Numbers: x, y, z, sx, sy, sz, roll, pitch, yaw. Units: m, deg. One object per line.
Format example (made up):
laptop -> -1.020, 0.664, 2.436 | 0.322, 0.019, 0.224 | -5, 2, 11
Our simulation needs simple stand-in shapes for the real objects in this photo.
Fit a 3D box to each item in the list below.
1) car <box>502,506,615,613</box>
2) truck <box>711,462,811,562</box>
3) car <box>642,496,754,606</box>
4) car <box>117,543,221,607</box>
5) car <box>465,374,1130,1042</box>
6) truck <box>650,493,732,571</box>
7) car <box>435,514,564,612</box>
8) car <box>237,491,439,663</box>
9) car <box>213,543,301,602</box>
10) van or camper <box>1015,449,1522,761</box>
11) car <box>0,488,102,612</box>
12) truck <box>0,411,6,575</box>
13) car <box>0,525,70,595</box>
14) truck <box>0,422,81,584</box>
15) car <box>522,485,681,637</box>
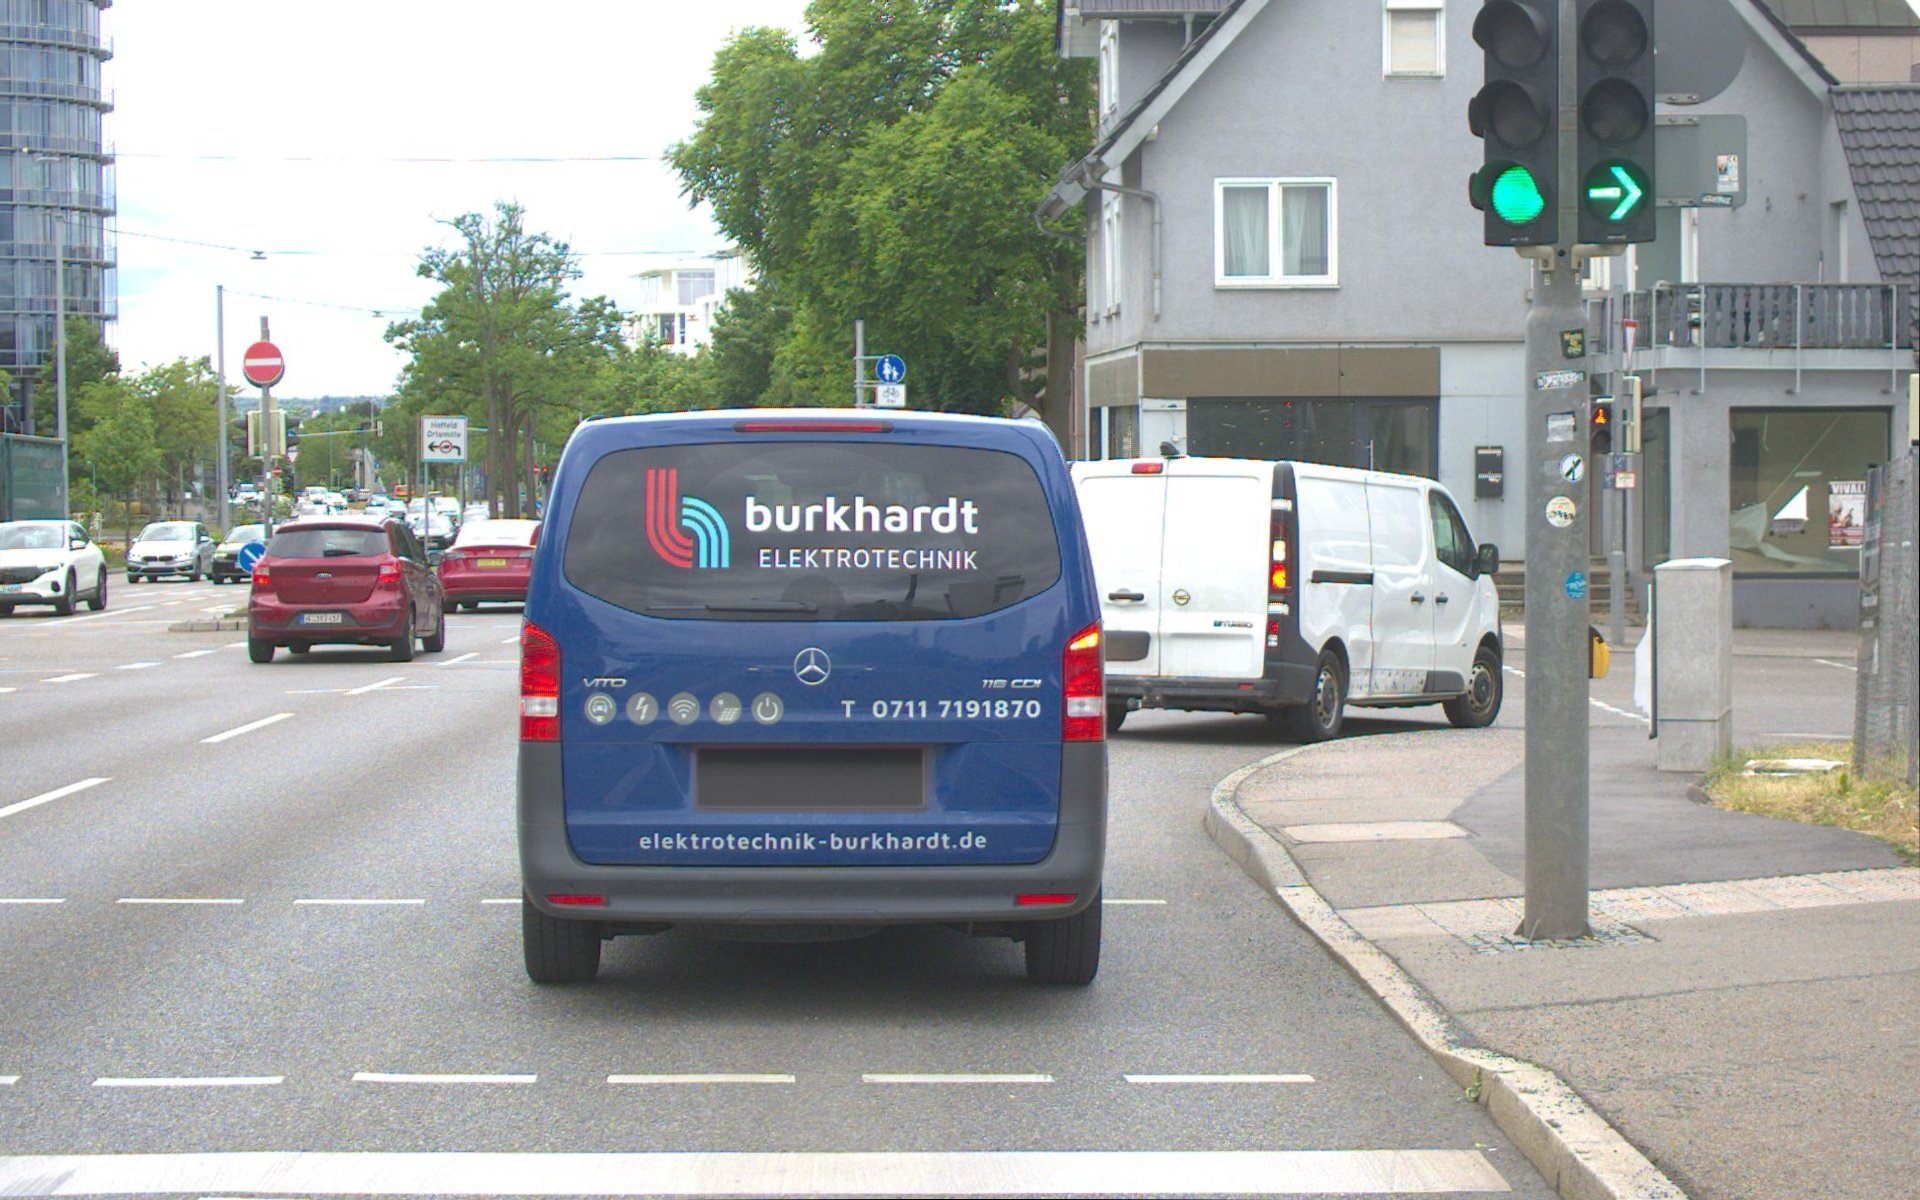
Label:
car -> -8.036, -0.840, 68.605 | 1.993, 2.006, 4.002 | 1, 2, -10
truck -> -4.514, -2.005, 78.576 | 1.993, 2.158, 5.560 | 1, 1, -1
car -> -4.260, -0.826, 56.320 | 1.746, 1.717, 4.001 | -1, 2, -3
car -> -20.497, -0.656, 89.198 | 1.993, 1.568, 4.001 | -1, 1, -4
car -> -0.522, 0.274, 12.393 | 1.948, 1.959, 4.542 | 0, 1, -1
truck -> -7.827, -2.003, 100.444 | 1.993, 2.158, 5.560 | 1, 1, -1
car -> -7.277, -0.563, 54.073 | 1.868, 1.481, 4.001 | 0, 0, -10
car -> -6.587, -0.283, 36.769 | 1.746, 1.717, 4.001 | -1, 2, -5
car -> -17.055, -0.685, 83.536 | 1.993, 1.327, 4.446 | -1, 1, -10
van or camper -> 2.418, -0.076, 25.437 | 1.996, 2.006, 5.089 | 3, 3, 26
car -> -15.844, -0.850, 58.066 | 1.993, 2.007, 4.180 | -1, 1, -6
truck -> -23.110, -2.338, 72.855 | 3.367, 3.714, 11.282 | 0, 1, -4
car -> -19.942, -0.842, 71.915 | 1.797, 1.412, 4.001 | -1, 1, -3
truck -> -23.810, -2.287, 83.175 | 3.367, 3.714, 8.028 | -1, 1, -3
car -> -4.252, -0.499, 41.265 | 1.746, 1.717, 4.001 | -1, 2, -4
